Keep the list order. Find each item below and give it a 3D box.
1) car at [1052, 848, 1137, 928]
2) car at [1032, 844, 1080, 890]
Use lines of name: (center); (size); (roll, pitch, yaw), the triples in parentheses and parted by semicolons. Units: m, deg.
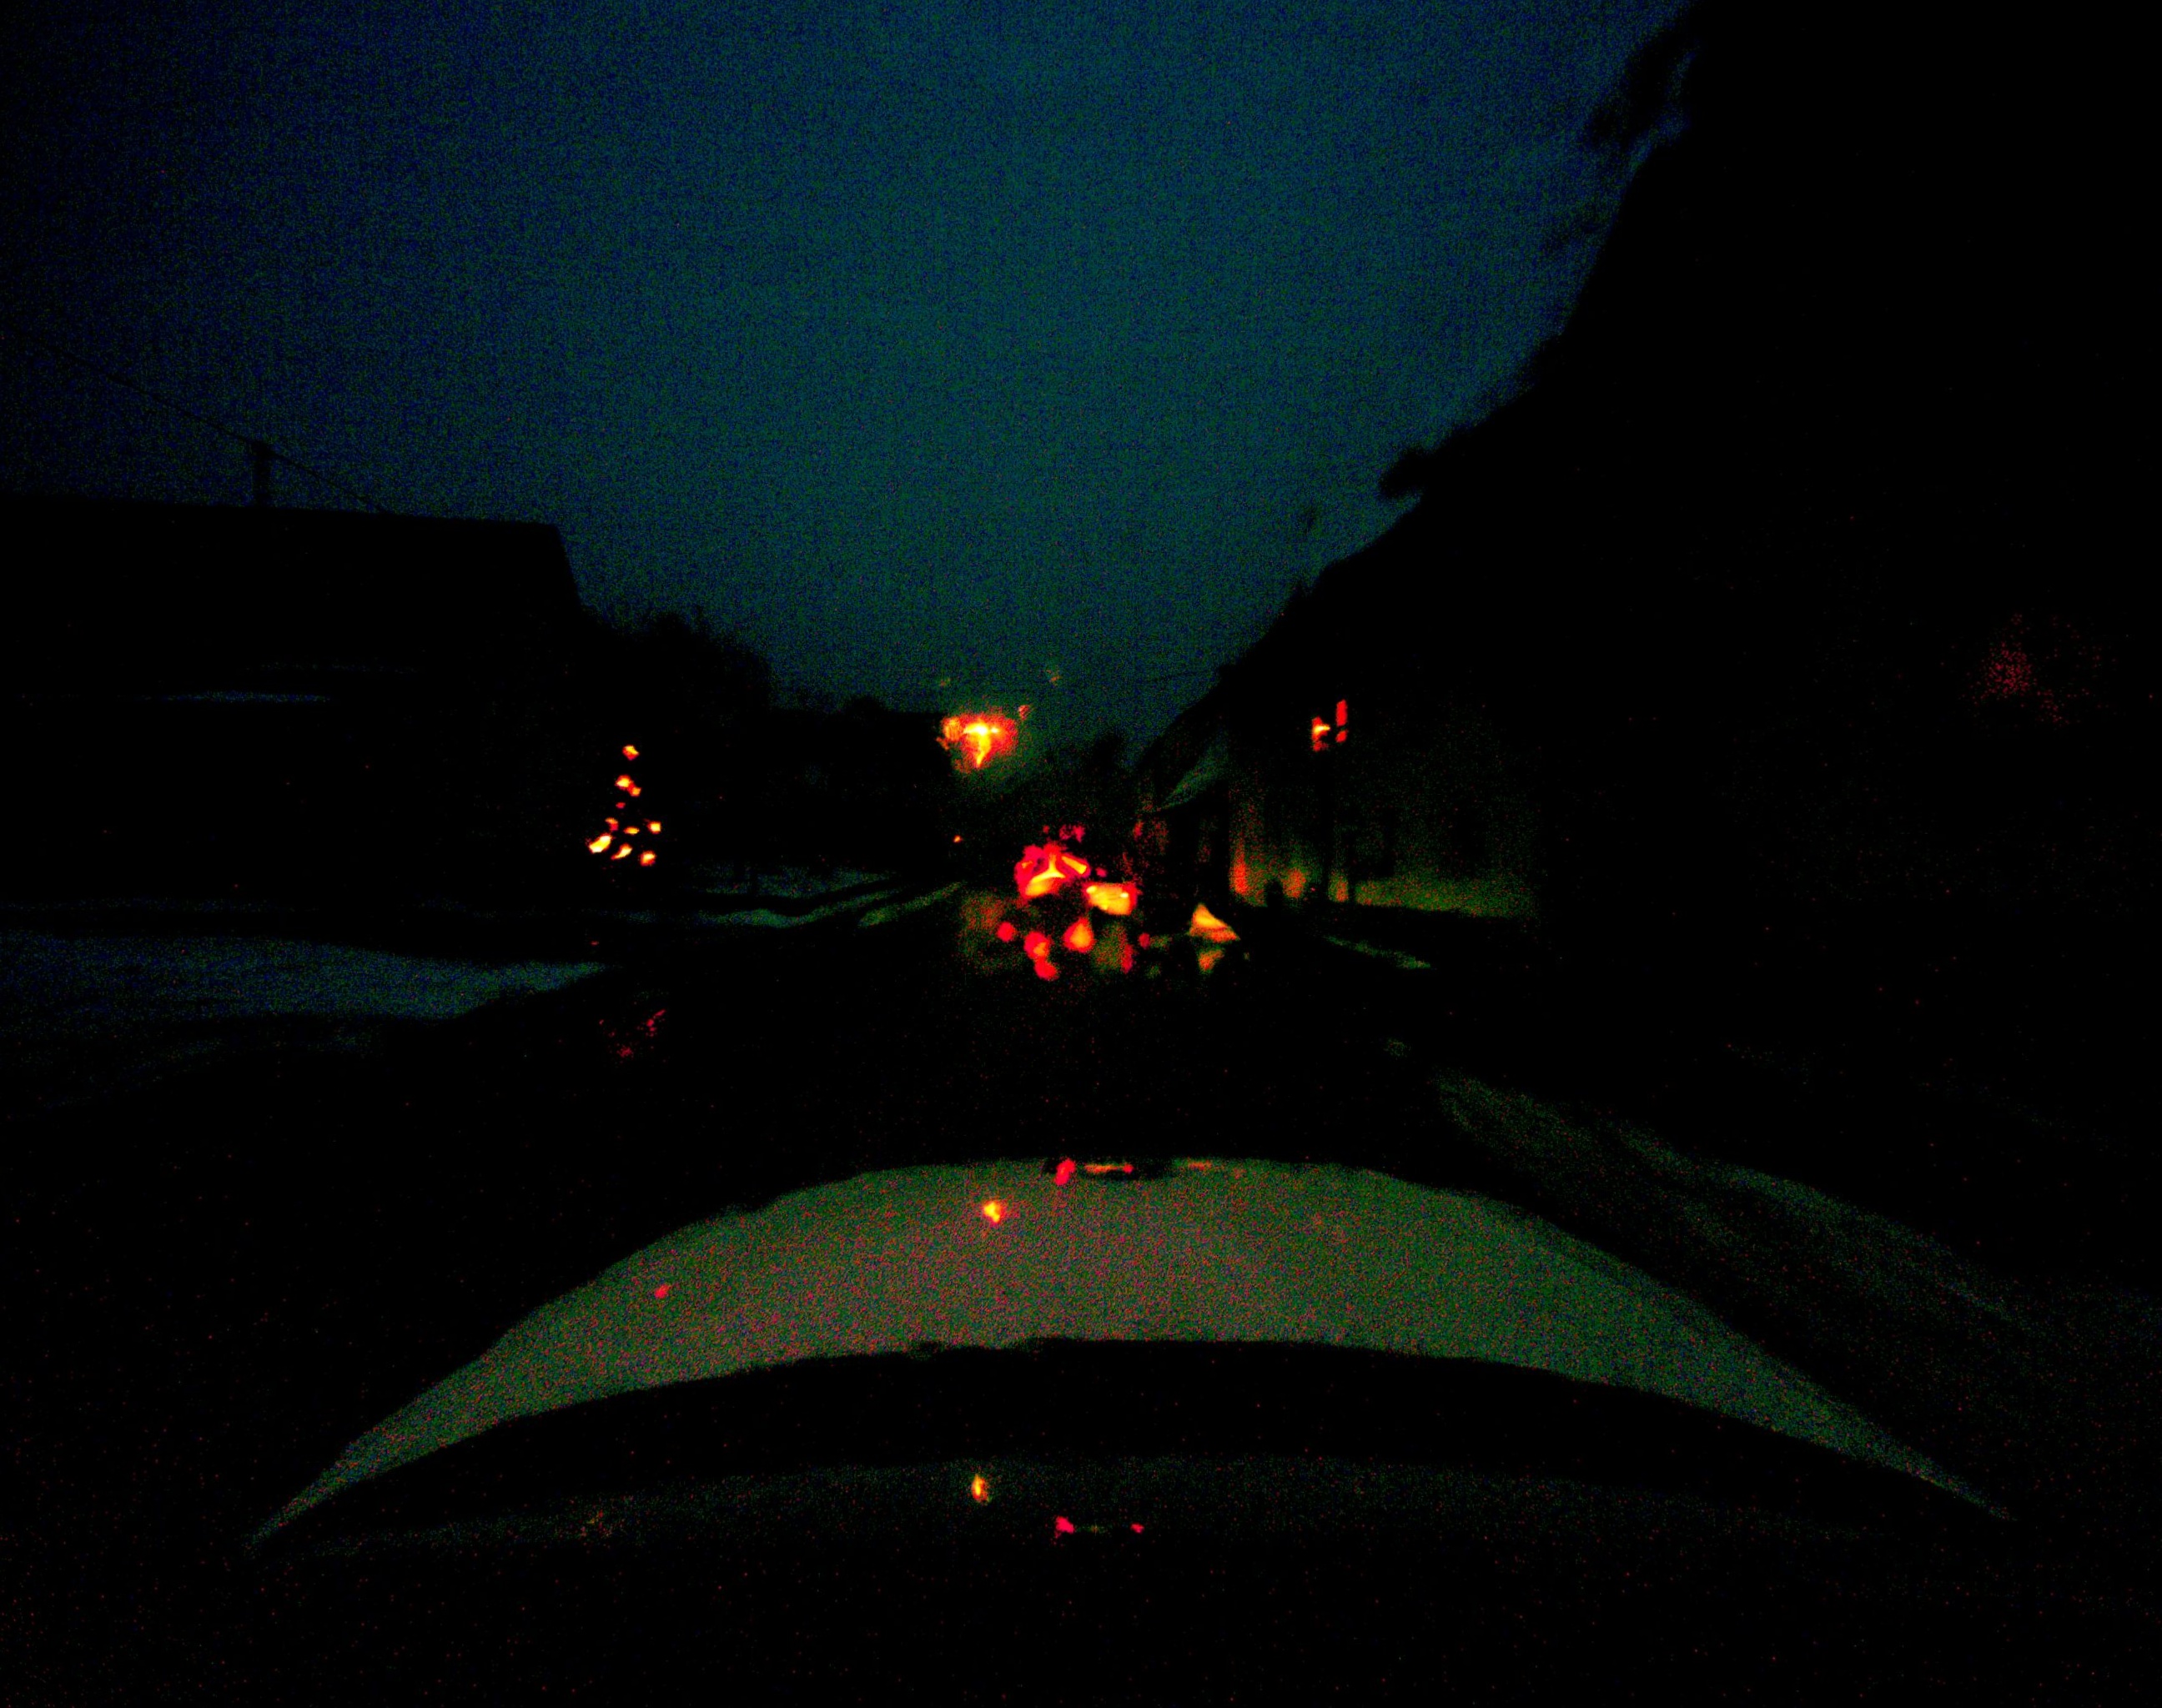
car: (0.207, 0.723, 18.138); (1.642, 1.596, 3.695); (0, -1, -3)
car: (-0.988, 0.499, 30.439); (1.642, 1.596, 3.694); (0, -1, -4)
